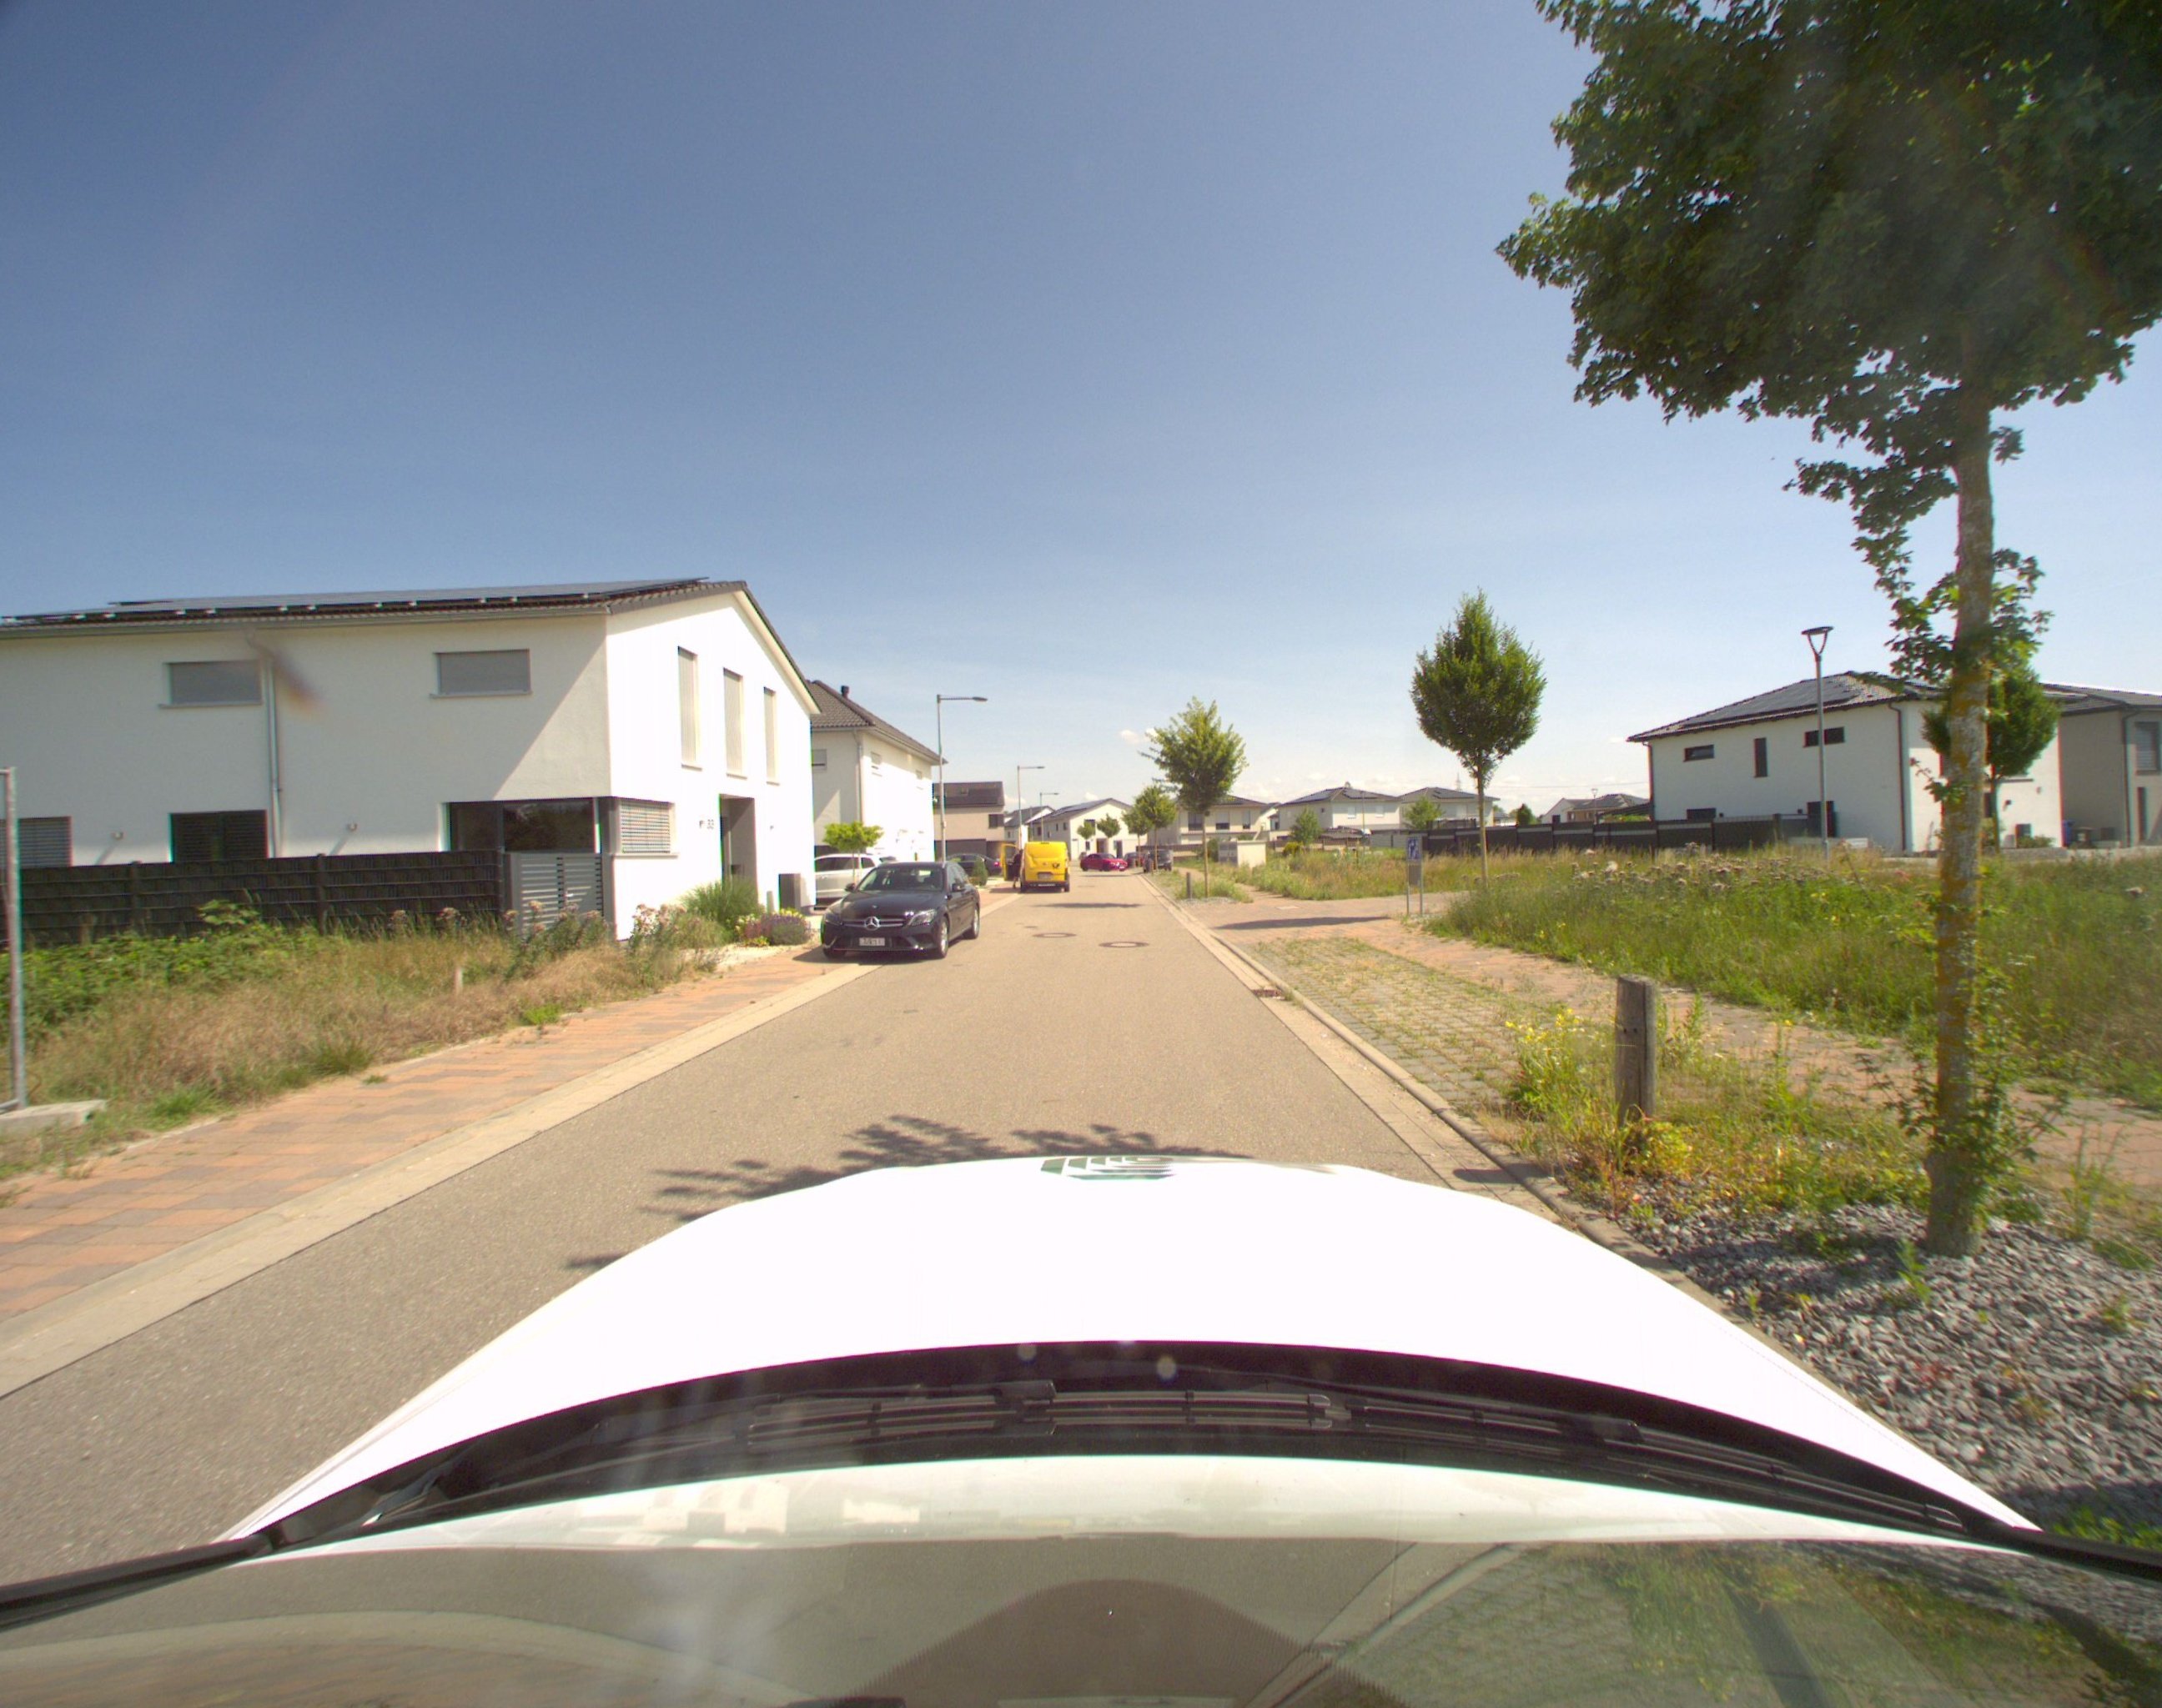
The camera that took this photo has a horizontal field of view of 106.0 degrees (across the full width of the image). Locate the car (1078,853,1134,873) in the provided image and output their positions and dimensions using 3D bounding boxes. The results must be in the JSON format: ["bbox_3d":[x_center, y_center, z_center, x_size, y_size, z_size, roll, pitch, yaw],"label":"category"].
[{"bbox_3d":[1.886,0.684,63.377,2.008,1.431,4.651,-1,1,-34],"label":"car"}]

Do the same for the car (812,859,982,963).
[{"bbox_3d":[-2.834,0.805,13.499,1.739,1.405,4.161,0,0,2],"label":"car"}]

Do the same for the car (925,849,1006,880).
[{"bbox_3d":[-6.317,0.553,44.239,4.166,1.505,1.807,2,-1,-14],"label":"car"}]

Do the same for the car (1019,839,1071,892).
[{"bbox_3d":[-1.427,0.470,33.365,1.936,1.981,4.214,-2,-1,-2],"label":"car"}]

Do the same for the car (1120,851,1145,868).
[{"bbox_3d":[4.508,0.509,71.923,1.625,1.322,3.827,-2,-2,-5],"label":"car"}]

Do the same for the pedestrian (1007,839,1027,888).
[{"bbox_3d":[-2.690,0.409,34.240,0.649,2.014,1.124,-2,-1,2],"label":"pedestrian"}]

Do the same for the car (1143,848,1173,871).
[{"bbox_3d":[4.985,0.402,53.281,1.633,1.403,3.811,-2,-1,1],"label":"car"}]

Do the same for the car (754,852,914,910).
[{"bbox_3d":[-7.181,0.761,23.868,4.046,1.581,1.788,-1,1,7],"label":"car"}]
